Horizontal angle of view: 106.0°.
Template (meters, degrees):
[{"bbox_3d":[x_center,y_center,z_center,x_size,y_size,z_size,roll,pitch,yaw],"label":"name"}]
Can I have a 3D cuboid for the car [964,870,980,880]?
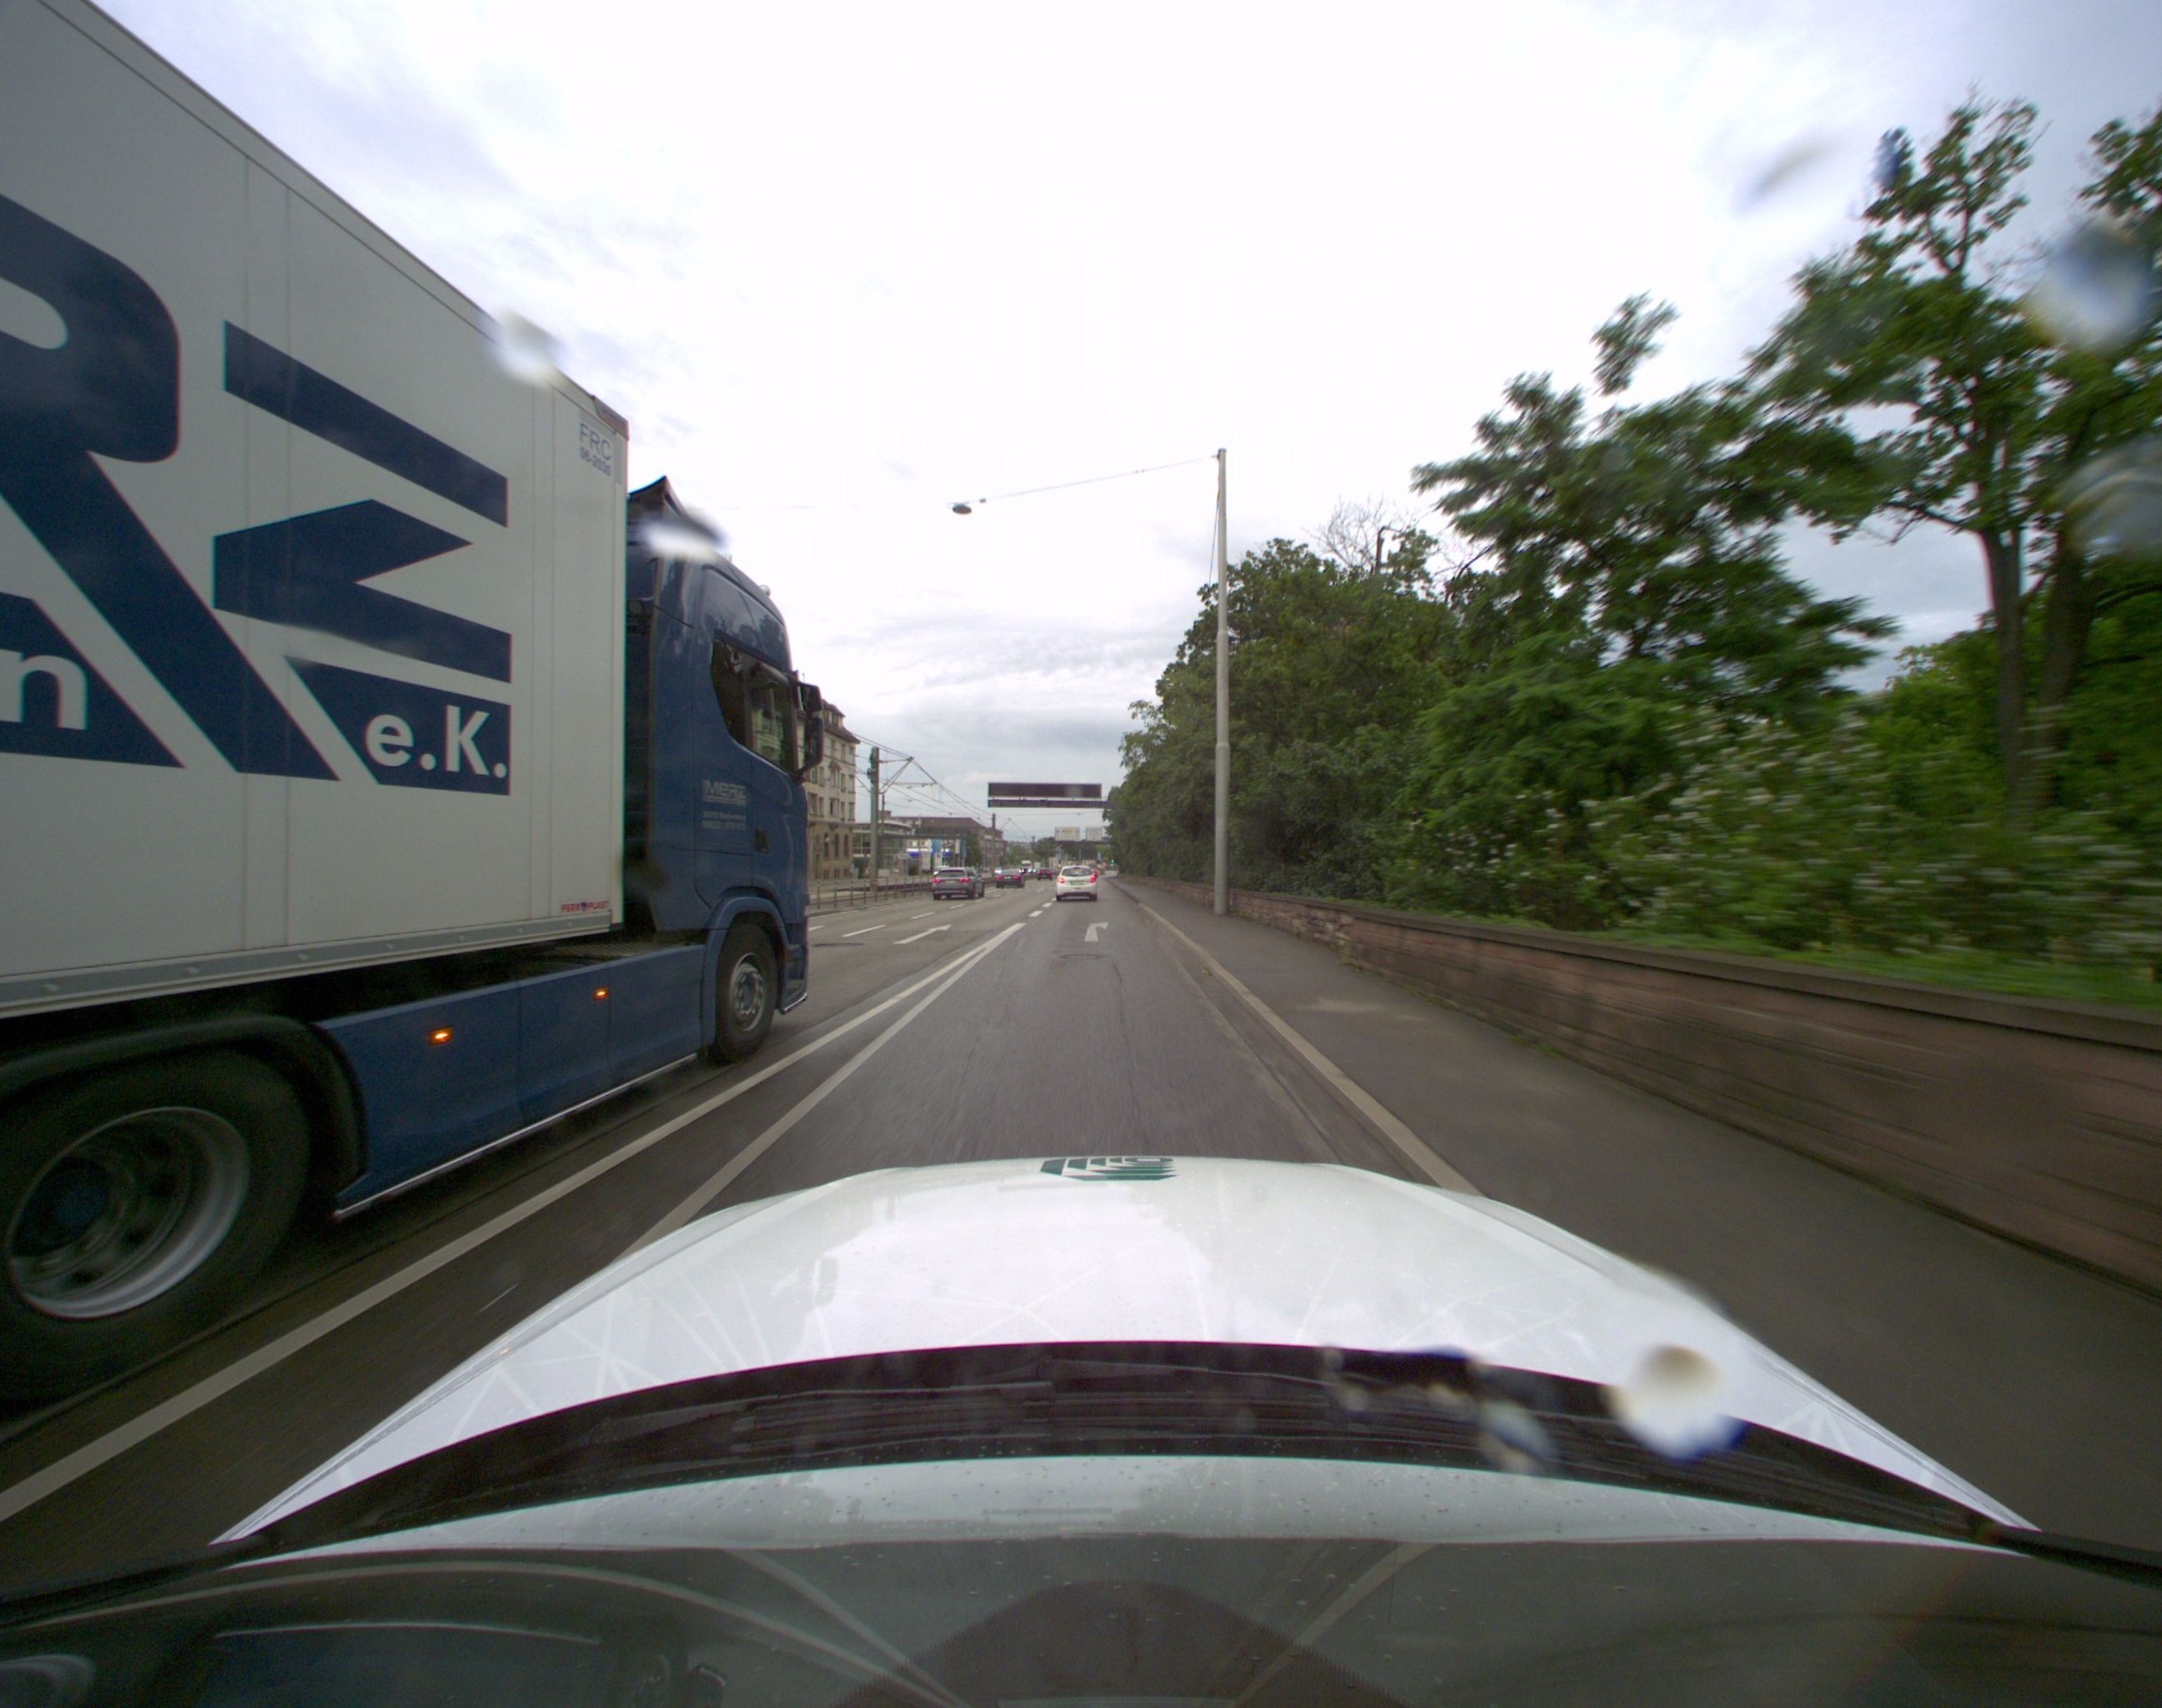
[{"bbox_3d":[-18.189,3.508,135.564,1.986,1.662,4.000,1,-2,1],"label":"car"}]

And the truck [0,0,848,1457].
[{"bbox_3d":[-3.878,-0.572,4.516,2.750,4.197,6.791,-1,-1,4],"label":"truck"}]

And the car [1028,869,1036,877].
[{"bbox_3d":[-13.682,5.261,227.740,1.987,2.014,3.999,1,-4,1],"label":"car"}]

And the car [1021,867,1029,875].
[{"bbox_3d":[-17.366,5.259,252.119,1.987,2.014,3.999,1,-4,1],"label":"car"}]

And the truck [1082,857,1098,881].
[{"bbox_3d":[2.383,3.784,203.104,3.450,5.403,12.057,1,-4,3],"label":"truck"}]

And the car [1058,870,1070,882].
[{"bbox_3d":[-3.184,4.217,155.153,1.986,2.014,3.999,1,-4,1],"label":"car"}]

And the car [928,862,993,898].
[{"bbox_3d":[-5.600,1.191,38.232,1.810,1.566,4.102,-2,-1,9],"label":"car"}]

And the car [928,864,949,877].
[{"bbox_3d":[-19.436,2.225,111.060,1.986,1.662,4.000,1,-2,1],"label":"car"}]

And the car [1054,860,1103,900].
[{"bbox_3d":[-0.068,1.066,34.850,1.948,1.488,4.001,1,0,1],"label":"car"}]

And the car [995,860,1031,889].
[{"bbox_3d":[-4.969,1.504,59.848,1.711,1.891,3.546,0,2,10],"label":"car"}]

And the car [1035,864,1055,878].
[{"bbox_3d":[-4.398,2.086,99.532,1.984,1.576,4.004,-1,-2,4],"label":"car"}]
